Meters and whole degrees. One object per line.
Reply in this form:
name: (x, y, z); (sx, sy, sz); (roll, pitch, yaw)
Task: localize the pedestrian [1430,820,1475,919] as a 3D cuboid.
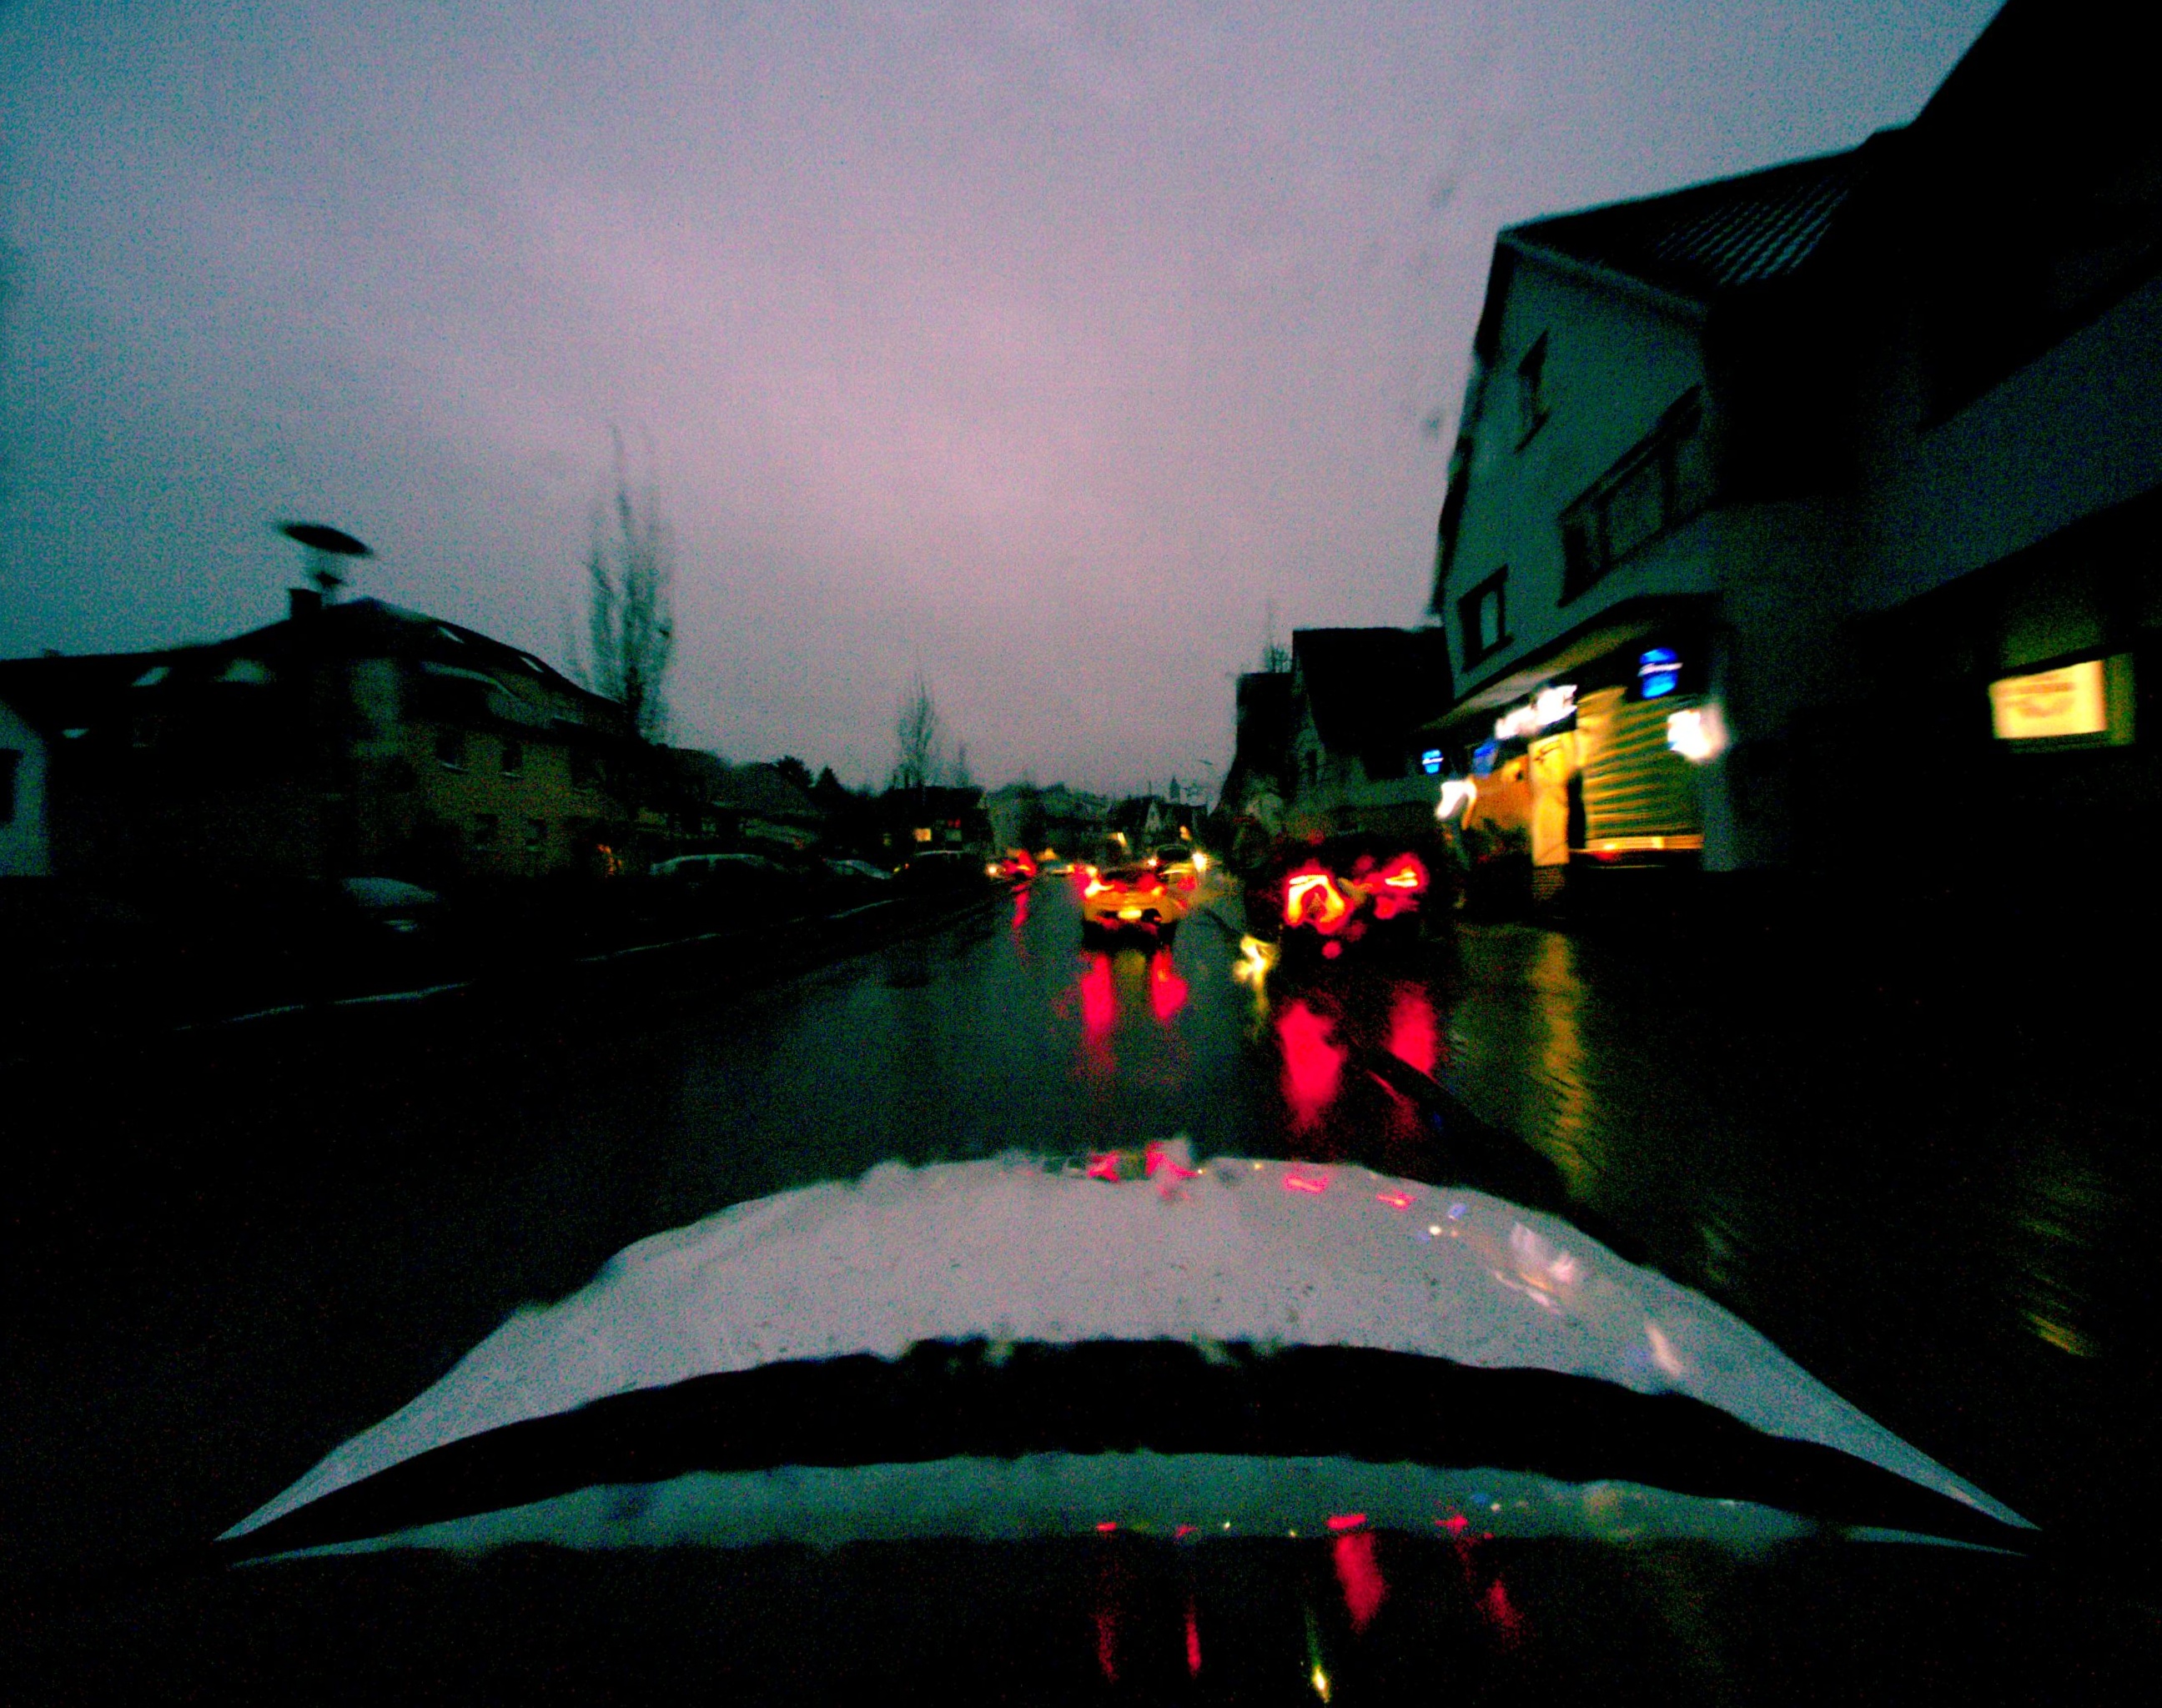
pedestrian: (6.614, 0.285, 14.508); (0.613, 1.727, 0.503); (-1, -3, 15)

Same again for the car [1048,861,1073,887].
car: (-1.679, 1.698, 67.750); (1.913, 2.028, 3.975); (0, -3, 1)

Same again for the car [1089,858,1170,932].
car: (1.015, 0.804, 17.164); (1.556, 1.412, 3.020); (0, 0, 3)

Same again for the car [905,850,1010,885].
car: (-6.693, 0.721, 44.252); (5.355, 1.818, 1.719); (0, -1, 16)

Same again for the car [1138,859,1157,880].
car: (6.968, 1.615, 85.570); (1.984, 2.112, 4.004); (0, -3, 4)

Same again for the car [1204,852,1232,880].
car: (11.589, 1.068, 69.209); (1.984, 2.249, 4.004); (0, -3, 5)

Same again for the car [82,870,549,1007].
car: (-9.240, 0.984, 10.072); (4.107, 1.498, 1.881); (0, -3, 5)

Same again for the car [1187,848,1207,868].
car: (11.693, 0.463, 81.874); (1.859, 1.835, 4.455); (-1, -3, 10)

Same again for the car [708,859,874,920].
car: (-8.313, 1.014, 23.511); (4.175, 1.652, 1.683); (-1, -1, 7)

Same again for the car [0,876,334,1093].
car: (-9.197, 1.039, 7.128); (4.072, 1.608, 1.590); (-1, -1, 6)

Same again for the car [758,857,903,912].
car: (-8.080, 0.983, 26.432); (4.144, 1.644, 1.661); (-1, -1, 7)

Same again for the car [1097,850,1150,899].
car: (1.575, 0.690, 29.031); (1.758, 1.628, 3.590); (0, 0, 5)

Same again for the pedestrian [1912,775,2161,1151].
pedestrian: (4.890, 0.459, 4.022); (0.618, 1.626, 0.903); (-1, 1, -10)

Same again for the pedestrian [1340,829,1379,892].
pedestrian: (6.824, 0.146, 19.982); (0.618, 1.515, 0.731); (-1, 1, -10)

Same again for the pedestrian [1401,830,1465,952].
pedestrian: (5.117, 0.523, 11.873); (0.570, 1.700, 0.654); (-3, -1, 4)

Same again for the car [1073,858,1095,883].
car: (0.311, 1.592, 75.583); (1.913, 2.216, 3.975); (0, -3, 1)

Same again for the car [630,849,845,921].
car: (-8.628, 0.774, 20.760); (4.610, 1.667, 2.000); (-1, -1, 0)

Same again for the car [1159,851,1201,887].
car: (5.375, 0.828, 44.533); (1.989, 1.865, 4.086); (-1, -1, 3)

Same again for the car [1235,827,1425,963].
car: (3.609, 0.547, 12.644); (1.728, 1.692, 4.388); (-2, -1, 2)

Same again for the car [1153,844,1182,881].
car: (6.032, 0.645, 56.977); (1.862, 2.469, 4.448); (0, -3, 4)
